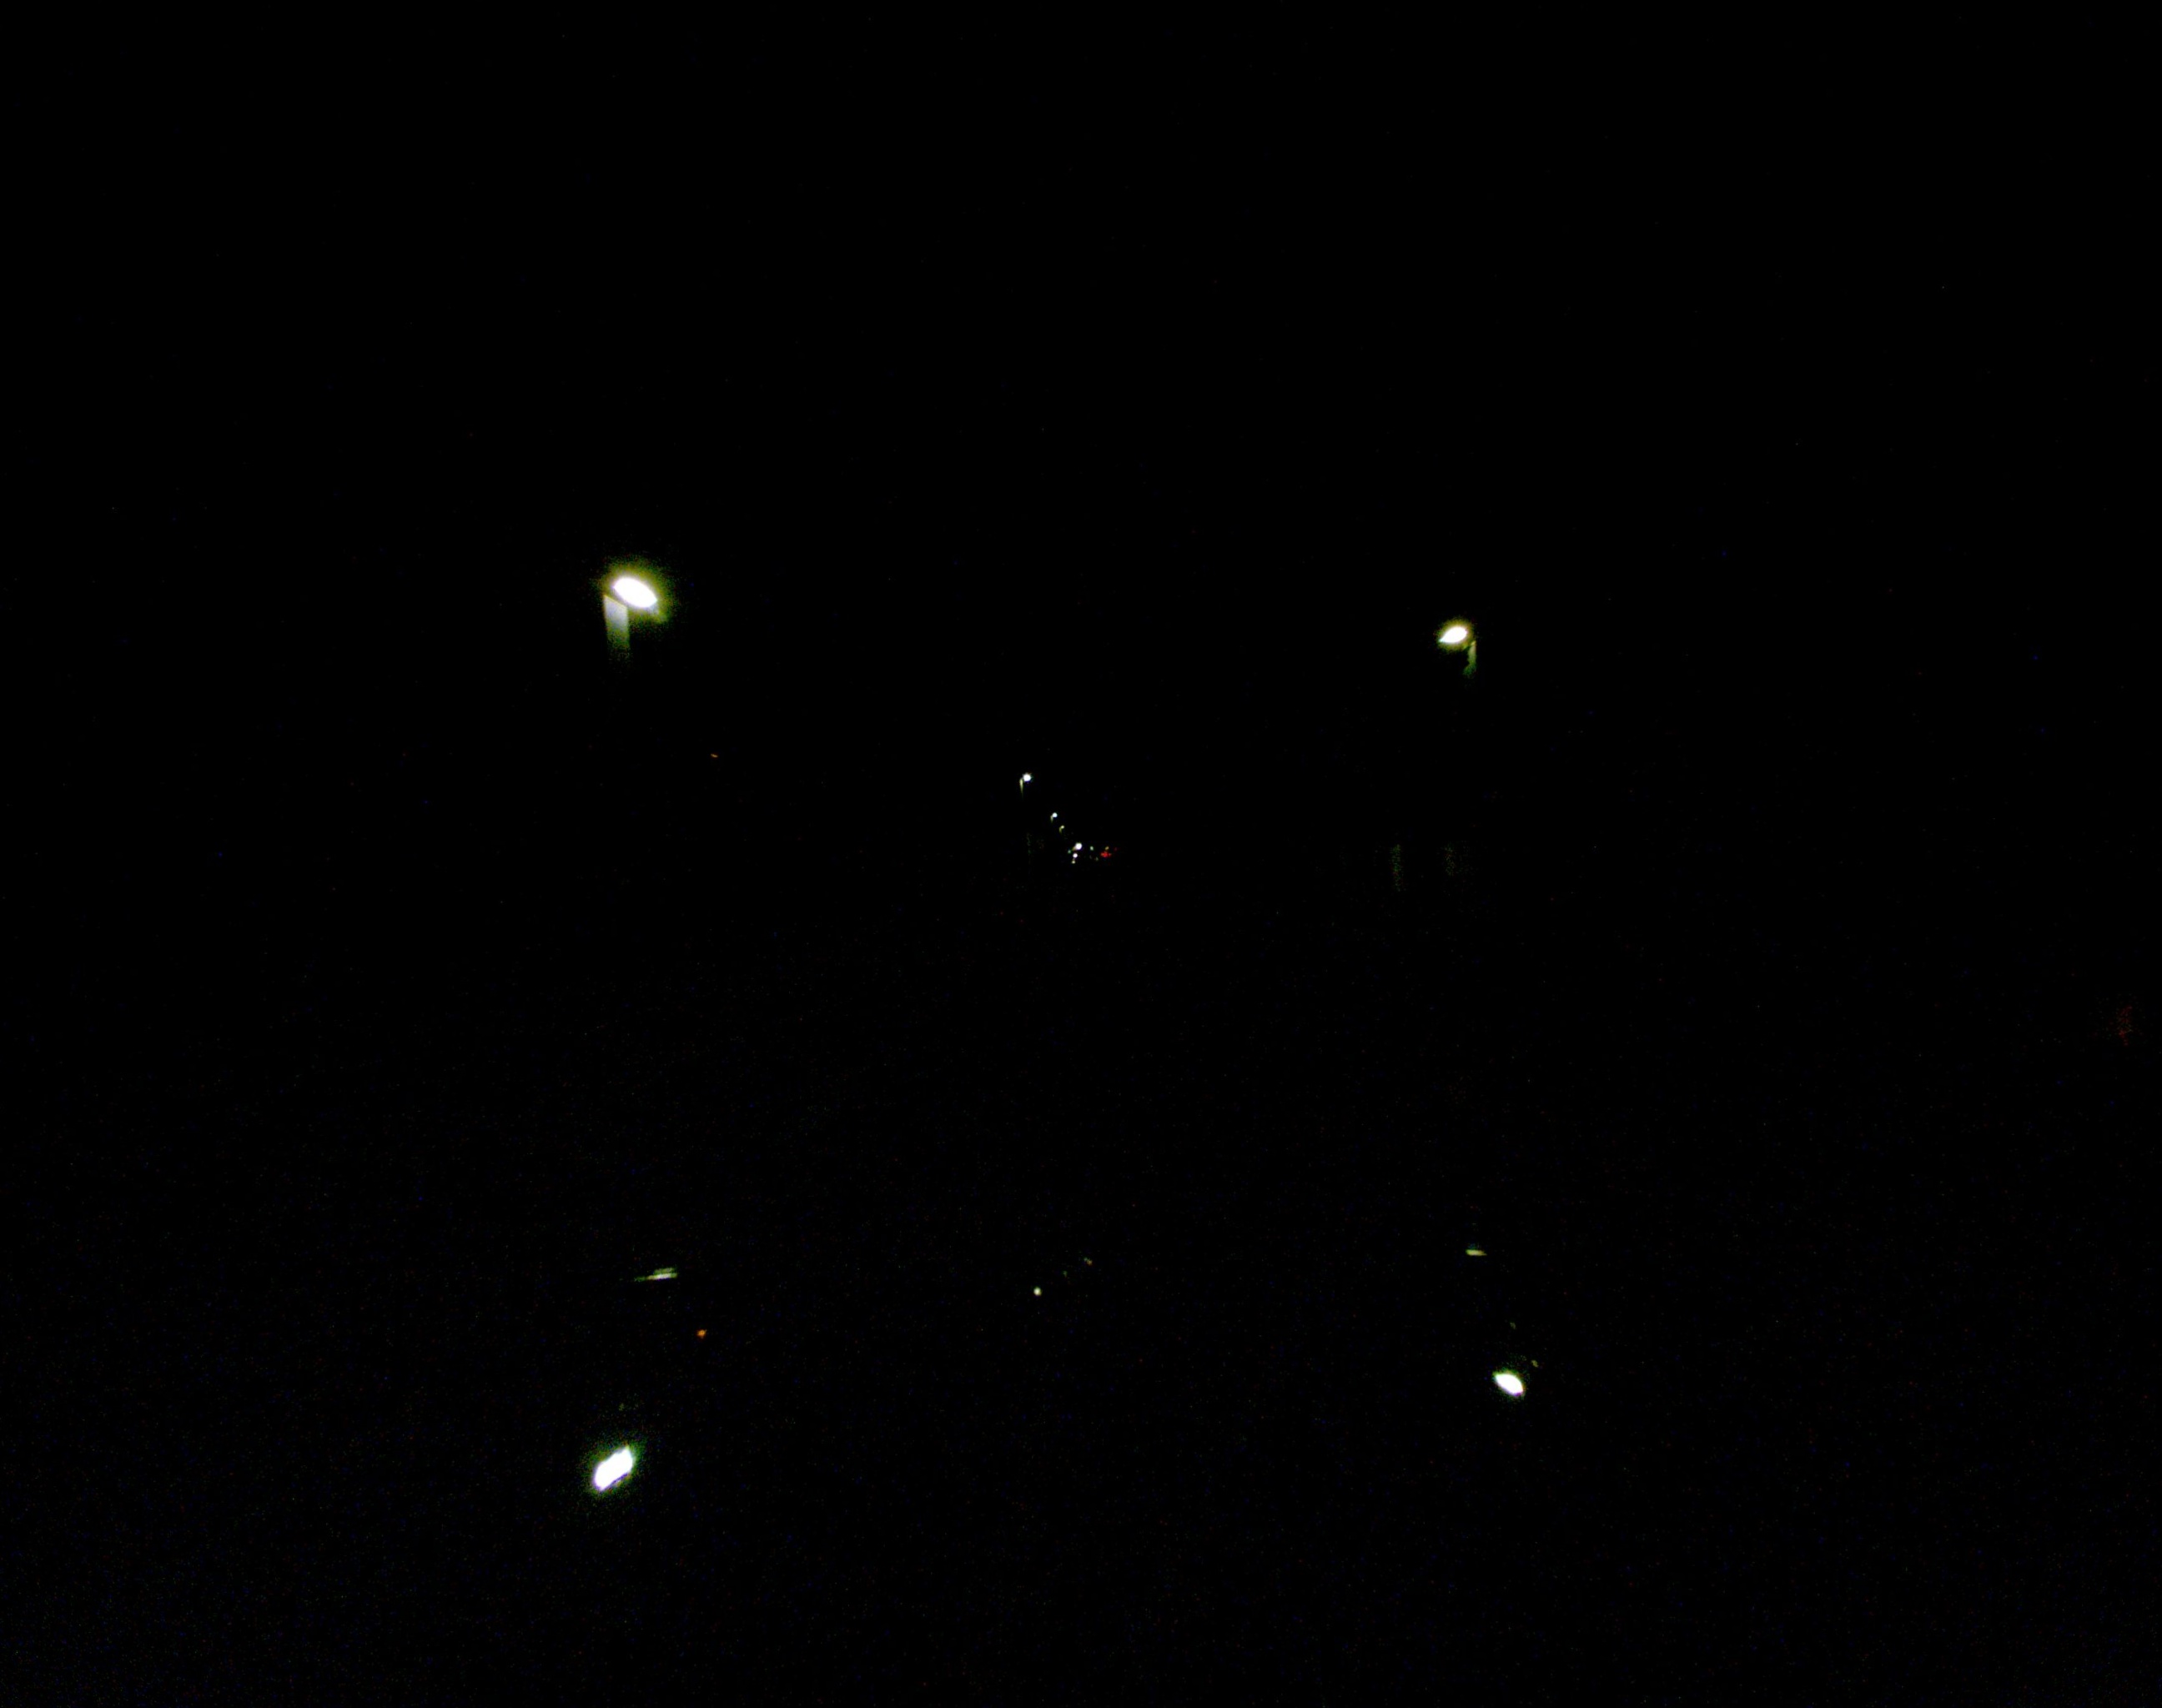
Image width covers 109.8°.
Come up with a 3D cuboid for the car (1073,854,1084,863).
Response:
[{"bbox_3d":[-0.431,0.786,136.170,1.747,1.560,4.209,-2,0,2],"label":"car"}]

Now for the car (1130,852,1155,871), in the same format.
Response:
[{"bbox_3d":[5.366,0.599,66.939,1.771,1.510,4.278,-4,0,1],"label":"car"}]

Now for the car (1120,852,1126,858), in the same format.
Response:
[{"bbox_3d":[13.347,0.280,243.128,1.814,1.637,3.804,-4,0,3],"label":"car"}]

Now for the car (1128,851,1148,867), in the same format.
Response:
[{"bbox_3d":[5.656,0.477,75.448,1.692,1.501,4.279,-3,0,1],"label":"car"}]

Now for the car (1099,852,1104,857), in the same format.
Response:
[{"bbox_3d":[6.419,0.067,237.137,1.606,1.474,3.699,-2,0,1],"label":"car"}]

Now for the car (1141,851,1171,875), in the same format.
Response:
[{"bbox_3d":[5.210,0.631,53.186,1.675,1.513,2.978,-5,0,-1],"label":"car"}]

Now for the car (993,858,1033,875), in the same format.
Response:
[{"bbox_3d":[-6.788,1.208,75.975,3.720,1.464,1.731,-3,1,3],"label":"car"}]

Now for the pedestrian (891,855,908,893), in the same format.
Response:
[{"bbox_3d":[-9.309,1.037,39.041,0.647,1.926,0.773,-1,1,1],"label":"pedestrian"}]

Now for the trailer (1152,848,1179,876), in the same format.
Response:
[{"bbox_3d":[5.547,0.492,49.958,1.451,1.678,3.426,-5,0,3],"label":"trailer"}]
